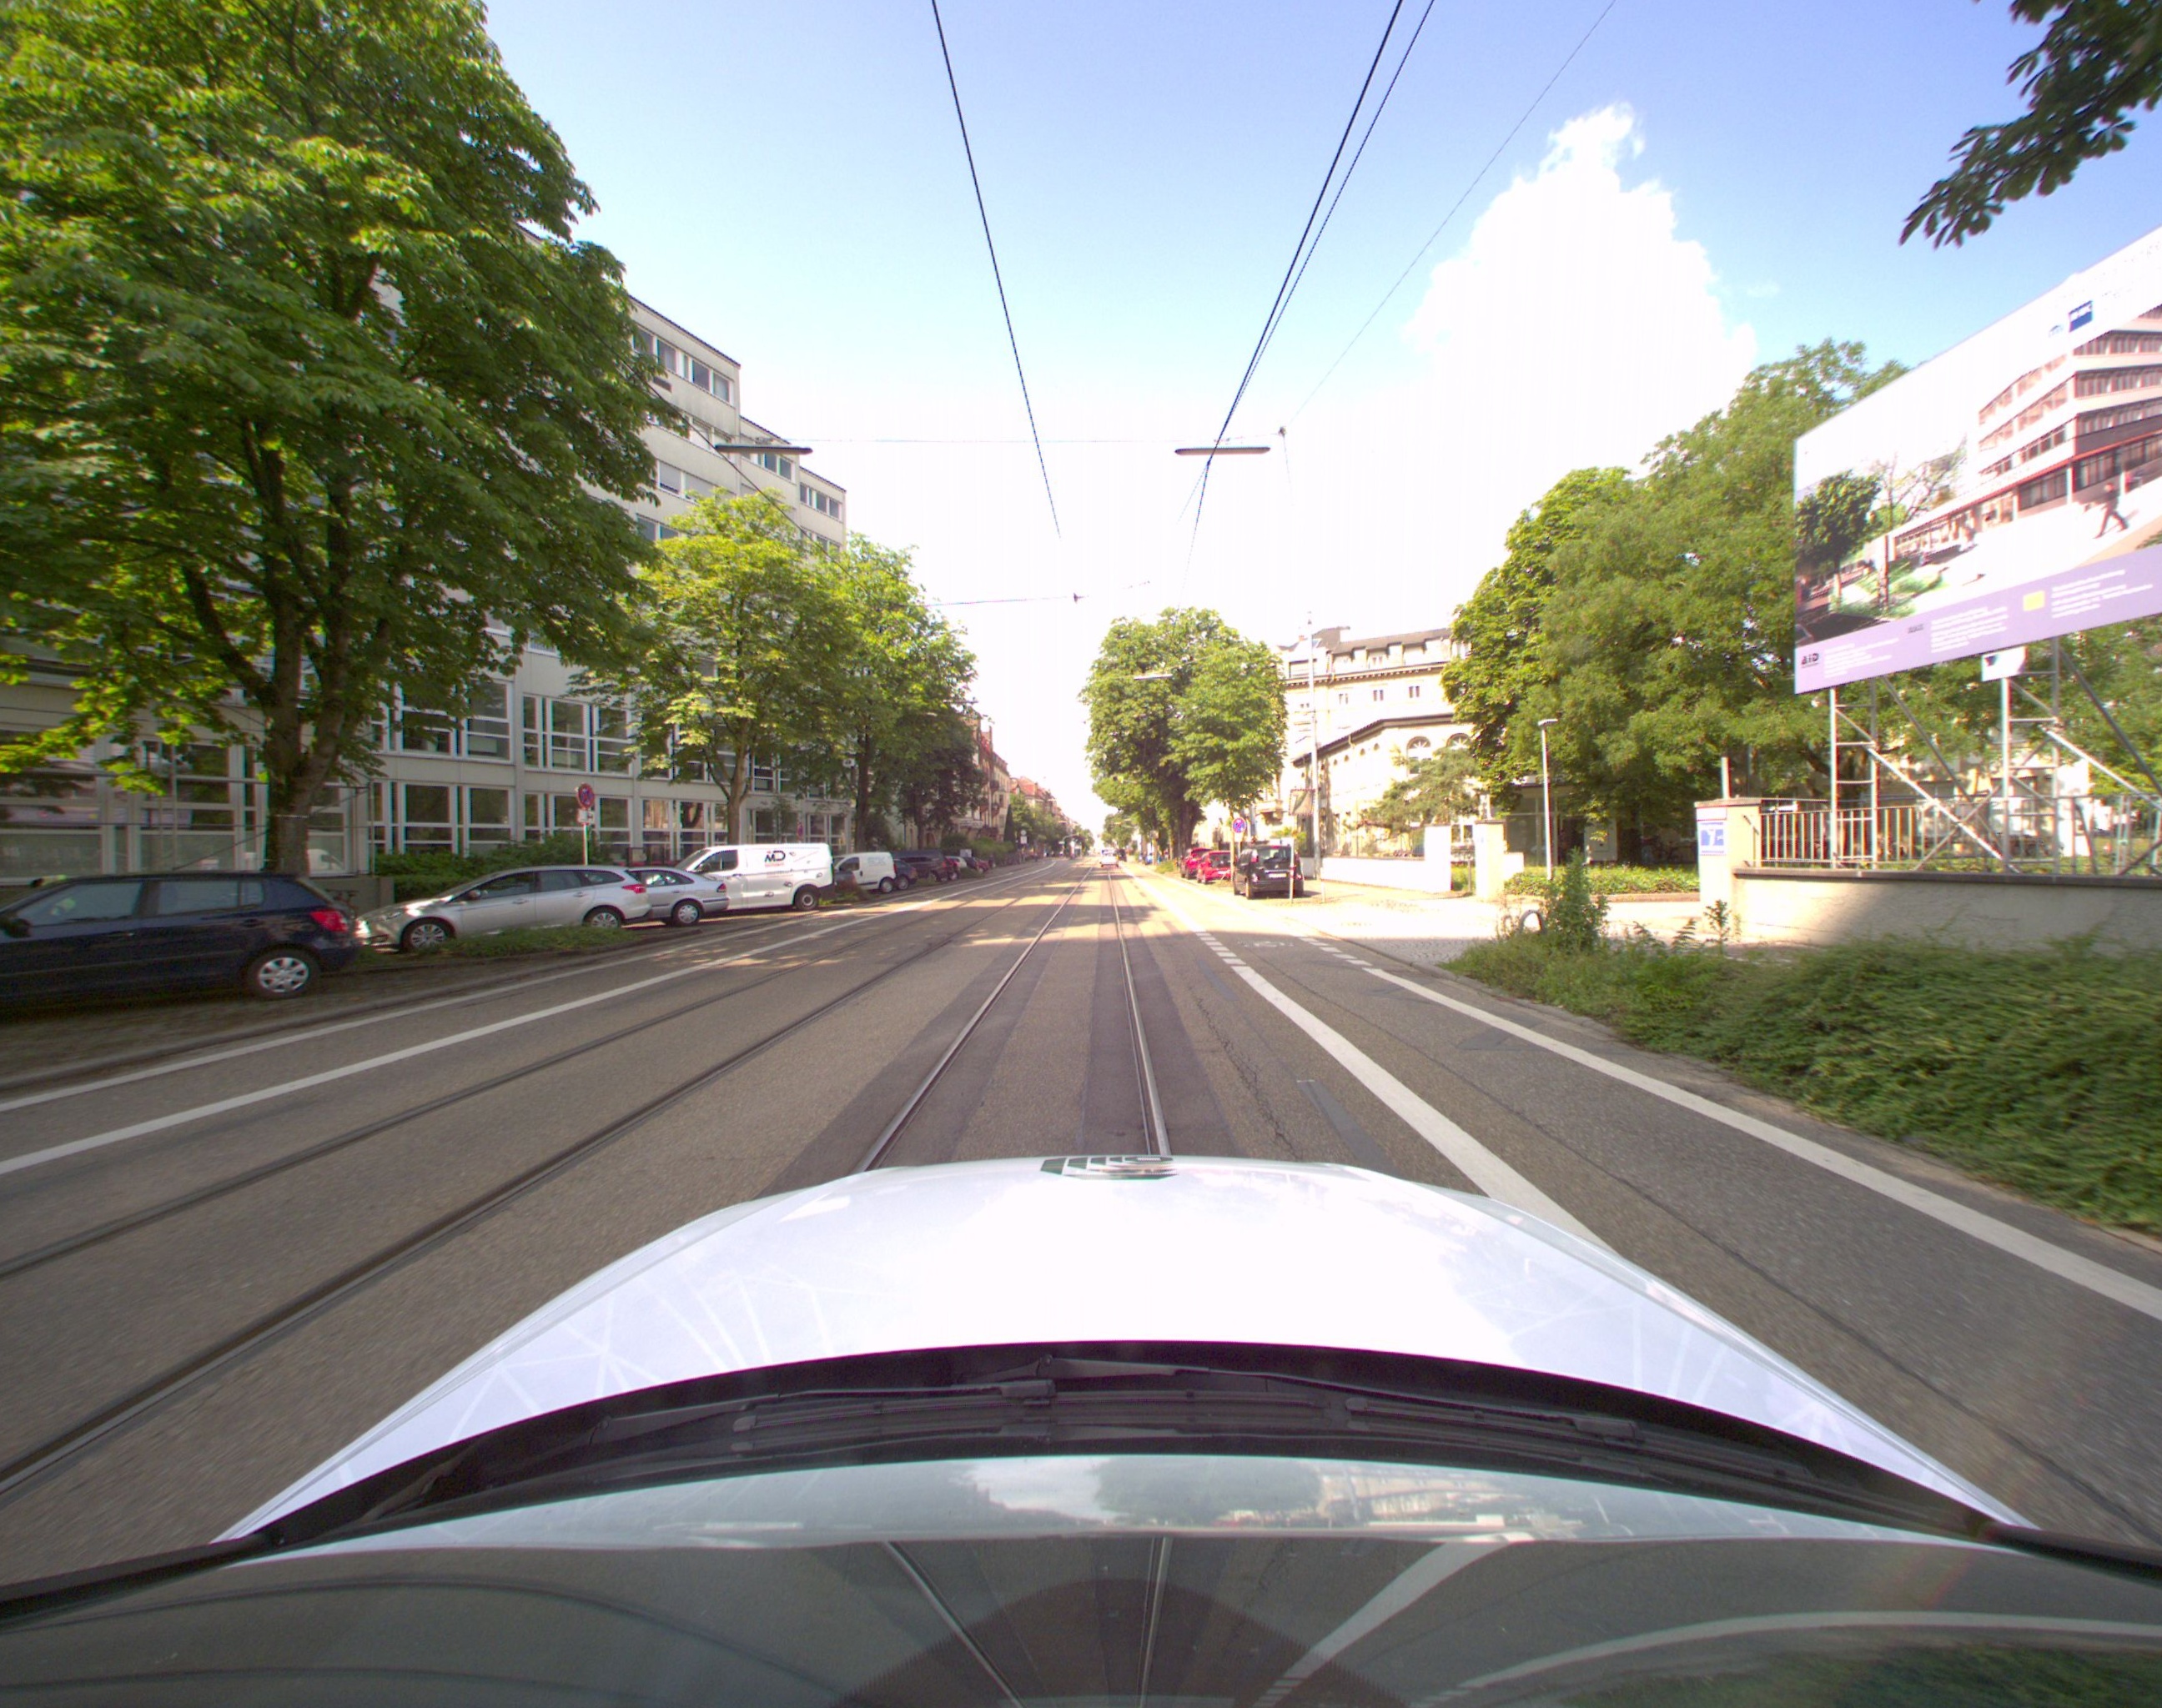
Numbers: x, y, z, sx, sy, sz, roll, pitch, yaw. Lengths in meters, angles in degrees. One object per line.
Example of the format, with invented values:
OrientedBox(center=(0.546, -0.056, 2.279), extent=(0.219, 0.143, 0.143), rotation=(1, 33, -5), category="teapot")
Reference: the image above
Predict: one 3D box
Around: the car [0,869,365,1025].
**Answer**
OrientedBox(center=(-10.573, 0.928, 8.957), extent=(4.021, 1.462, 1.739), rotation=(0, -1, -41), category="car")

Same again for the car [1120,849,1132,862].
OrientedBox(center=(6.328, 0.244, 115.710), extent=(1.615, 1.849, 3.566), rotation=(0, 0, 2), category="car")

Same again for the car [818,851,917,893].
OrientedBox(center=(-9.280, 0.758, 35.561), extent=(3.780, 1.712, 1.860), rotation=(0, -1, -44), category="car")

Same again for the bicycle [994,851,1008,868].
OrientedBox(center=(-8.194, 0.573, 83.755), extent=(0.933, 1.746, 2.289), rotation=(0, 0, 7), category="bicycle")

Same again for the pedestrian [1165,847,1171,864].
OrientedBox(center=(10.420, 0.184, 97.458), extent=(0.757, 2.014, 0.765), rotation=(0, -1, 3), category="pedestrian")

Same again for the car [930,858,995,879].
OrientedBox(center=(-7.615, 0.896, 52.396), extent=(3.804, 1.306, 1.620), rotation=(0, -1, -37), category="car")

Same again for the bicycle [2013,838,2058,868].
OrientedBox(center=(35.310, -0.016, 30.153), extent=(0.414, 1.056, 2.080), rotation=(-5, -3, 32), category="bicycle")

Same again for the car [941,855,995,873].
OrientedBox(center=(-8.536, 0.742, 61.717), extent=(3.804, 1.306, 1.620), rotation=(0, -1, -37), category="car")

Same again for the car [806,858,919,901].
OrientedBox(center=(-8.033, 0.904, 30.064), extent=(1.740, 1.501, 3.658), rotation=(-2, -1, 43), category="car")

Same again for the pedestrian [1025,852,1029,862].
OrientedBox(center=(-10.558, 0.571, 159.252), extent=(0.884, 2.014, 0.786), rotation=(0, -1, -7), category="pedestrian")

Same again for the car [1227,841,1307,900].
OrientedBox(center=(5.717, 0.450, 25.419), extent=(1.668, 1.611, 3.586), rotation=(-3, 1, 1), category="car")

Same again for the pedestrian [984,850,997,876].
OrientedBox(center=(-7.256, 0.732, 65.320), extent=(0.730, 2.013, 0.825), rotation=(-4, -1, 5), category="pedestrian")

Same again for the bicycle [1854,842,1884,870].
OrientedBox(center=(31.497, 0.094, 32.572), extent=(0.414, 1.056, 2.080), rotation=(-5, -3, 33), category="bicycle")

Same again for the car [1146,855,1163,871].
OrientedBox(center=(7.768, 0.976, 86.483), extent=(1.615, 1.684, 3.566), rotation=(0, 0, 2), category="car")

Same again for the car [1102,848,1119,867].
OrientedBox(center=(2.767, 0.325, 76.563), extent=(1.615, 1.684, 3.566), rotation=(0, 0, 2), category="car")

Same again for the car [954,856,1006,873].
OrientedBox(center=(-7.982, 0.836, 64.732), extent=(3.804, 1.306, 1.620), rotation=(0, -1, -37), category="car")

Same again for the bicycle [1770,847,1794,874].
OrientedBox(center=(28.996, 0.280, 33.698), extent=(0.414, 1.056, 2.080), rotation=(-5, -3, 33), category="bicycle")

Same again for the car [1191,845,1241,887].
OrientedBox(center=(6.051, 0.507, 36.866), extent=(1.668, 1.611, 3.586), rotation=(-3, 2, 1), category="car")

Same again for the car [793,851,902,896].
OrientedBox(center=(-9.290, 0.745, 32.546), extent=(3.780, 1.712, 1.860), rotation=(0, -1, -44), category="car")

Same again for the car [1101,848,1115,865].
OrientedBox(center=(3.224, 0.283, 98.156), extent=(1.615, 2.000, 3.566), rotation=(0, 0, 1), category="car")

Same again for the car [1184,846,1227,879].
OrientedBox(center=(6.681, 0.471, 44.112), extent=(1.952, 1.706, 4.003), rotation=(0, 0, 3), category="car")

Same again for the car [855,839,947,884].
OrientedBox(center=(-9.265, 0.394, 42.095), extent=(4.228, 2.081, 1.861), rotation=(4, -1, -44), category="car")

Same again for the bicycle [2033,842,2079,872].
OrientedBox(center=(35.830, 0.110, 29.954), extent=(0.414, 1.056, 2.080), rotation=(-5, -3, 32), category="bicycle")

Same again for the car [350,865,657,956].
OrientedBox(center=(-10.666, 0.941, 15.308), extent=(1.718, 1.426, 4.488), rotation=(-1, -1, 44), category="car")

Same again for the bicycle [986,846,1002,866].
OrientedBox(center=(-8.469, 0.228, 79.516), extent=(0.933, 1.918, 2.504), rotation=(0, 0, 7), category="bicycle")

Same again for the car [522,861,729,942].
OrientedBox(center=(-10.348, 1.007, 18.650), extent=(3.805, 1.475, 1.705), rotation=(-4, 1, -42), category="car")

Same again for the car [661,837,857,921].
OrientedBox(center=(-8.941, 0.624, 22.863), extent=(4.667, 1.912, 1.910), rotation=(-5, 2, -40), category="car")

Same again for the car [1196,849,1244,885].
OrientedBox(center=(6.273, 0.579, 36.963), extent=(1.661, 1.486, 3.281), rotation=(-2, 0, 2), category="car")

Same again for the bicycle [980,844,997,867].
OrientedBox(center=(-8.424, 0.121, 74.211), extent=(0.933, 2.078, 2.504), rotation=(0, 0, 7), category="bicycle")
